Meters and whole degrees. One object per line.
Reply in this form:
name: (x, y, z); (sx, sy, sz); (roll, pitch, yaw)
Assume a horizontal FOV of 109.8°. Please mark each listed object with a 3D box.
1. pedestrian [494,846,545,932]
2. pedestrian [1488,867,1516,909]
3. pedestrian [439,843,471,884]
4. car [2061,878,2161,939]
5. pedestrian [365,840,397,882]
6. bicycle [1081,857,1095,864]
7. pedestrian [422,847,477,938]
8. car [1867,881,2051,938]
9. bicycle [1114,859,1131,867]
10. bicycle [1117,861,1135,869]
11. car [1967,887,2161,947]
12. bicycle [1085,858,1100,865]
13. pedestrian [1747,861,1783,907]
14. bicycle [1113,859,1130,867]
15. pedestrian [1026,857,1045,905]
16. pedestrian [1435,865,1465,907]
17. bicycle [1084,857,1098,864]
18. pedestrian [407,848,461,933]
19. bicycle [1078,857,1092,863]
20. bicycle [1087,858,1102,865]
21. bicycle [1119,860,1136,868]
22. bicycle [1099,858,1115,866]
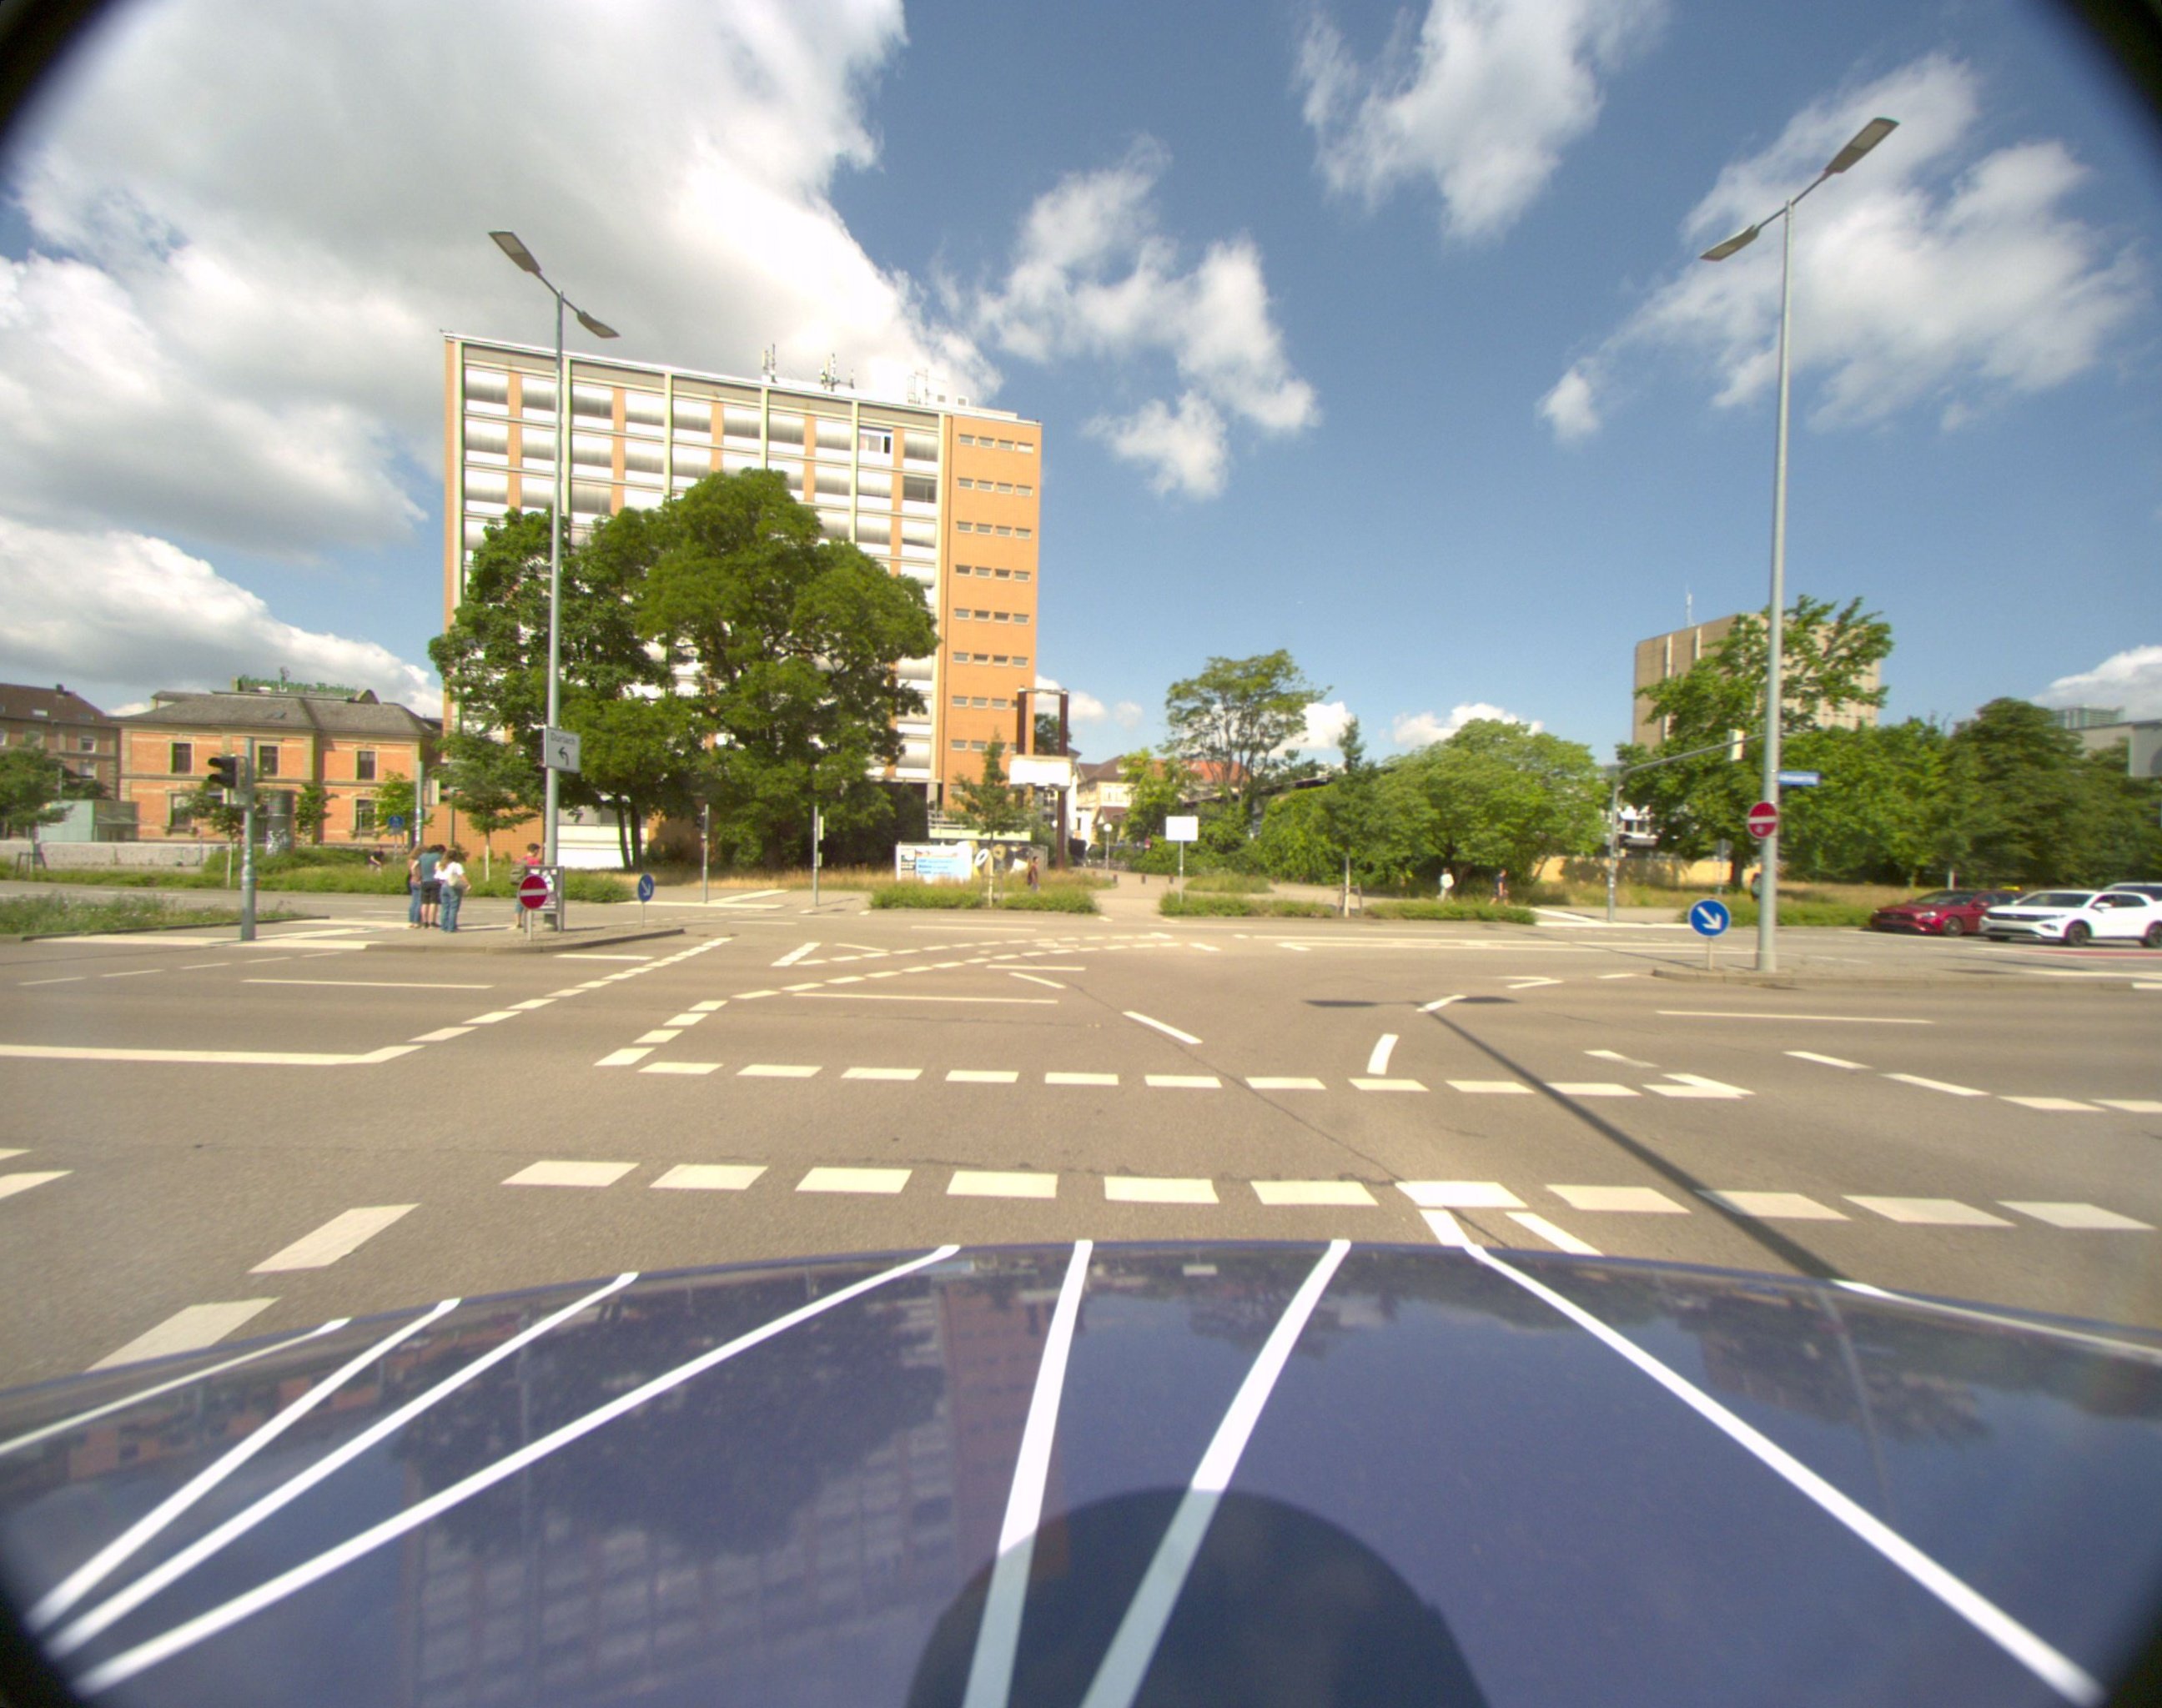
pedestrian: (-11.519, 0.707, 15.586); (0.623, 1.723, 0.526); (1, 1, 2)
pedestrian: (15.699, 1.260, 28.358); (0.551, 1.499, 0.772); (1, 0, -2)
pedestrian: (-27.332, 0.410, 33.182); (0.666, 1.773, 0.791); (1, 1, 11)
car: (35.821, 1.802, 25.133); (4.825, 1.859, 1.947); (2, 0, -7)
pedestrian: (-30.241, 0.300, 32.820); (0.665, 1.773, 0.791); (1, 1, 19)
bicycle: (0.818, 0.747, 87.014); (1.559, 0.715, 0.508); (1, 1, -5)
pedestrian: (-12.334, 0.742, 14.848); (0.623, 1.723, 0.526); (1, 1, 2)
car: (28.201, 1.771, 24.457); (4.462, 1.631, 1.685); (1, 0, -8)
bicycle: (3.983, 0.877, 72.622); (1.559, 0.715, 0.508); (1, 1, -5)
bicycle: (4.035, 0.995, 68.529); (1.559, 0.715, 0.508); (1, 1, -5)
car: (27.822, 1.752, 21.426); (4.011, 1.530, 1.796); (1, -1, -7)
bicycle: (1.199, 0.767, 82.389); (1.559, 0.715, 0.508); (1, 1, -5)
pedestrian: (26.542, 1.158, 29.482); (0.678, 1.725, 0.744); (1, 1, -4)
bicycle: (3.940, 0.880, 73.259); (1.559, 0.715, 0.508); (1, 1, -5)
pedestrian: (-1.661, 0.980, 27.787); (0.577, 1.723, 0.662); (1, 1, 0)
pedestrian: (14.993, 1.296, 30.862); (0.720, 1.629, 0.870); (1, 1, -6)
bicycle: (1.163, 0.711, 85.935); (1.559, 0.715, 0.508); (1, 1, -5)
pedestrian: (-13.145, 0.727, 15.457); (0.623, 1.674, 0.526); (1, 1, 2)
bicycle: (0.506, 0.713, 87.787); (1.559, 0.715, 0.508); (1, 1, -5)
bicycle: (1.487, 0.777, 83.251); (1.559, 0.715, 0.508); (1, 1, -5)
bicycle: (4.298, 0.941, 70.341); (1.559, 0.715, 0.508); (1, 1, -5)
bicycle: (2.656, 0.829, 77.585); (1.559, 0.715, 0.508); (1, 1, -5)
